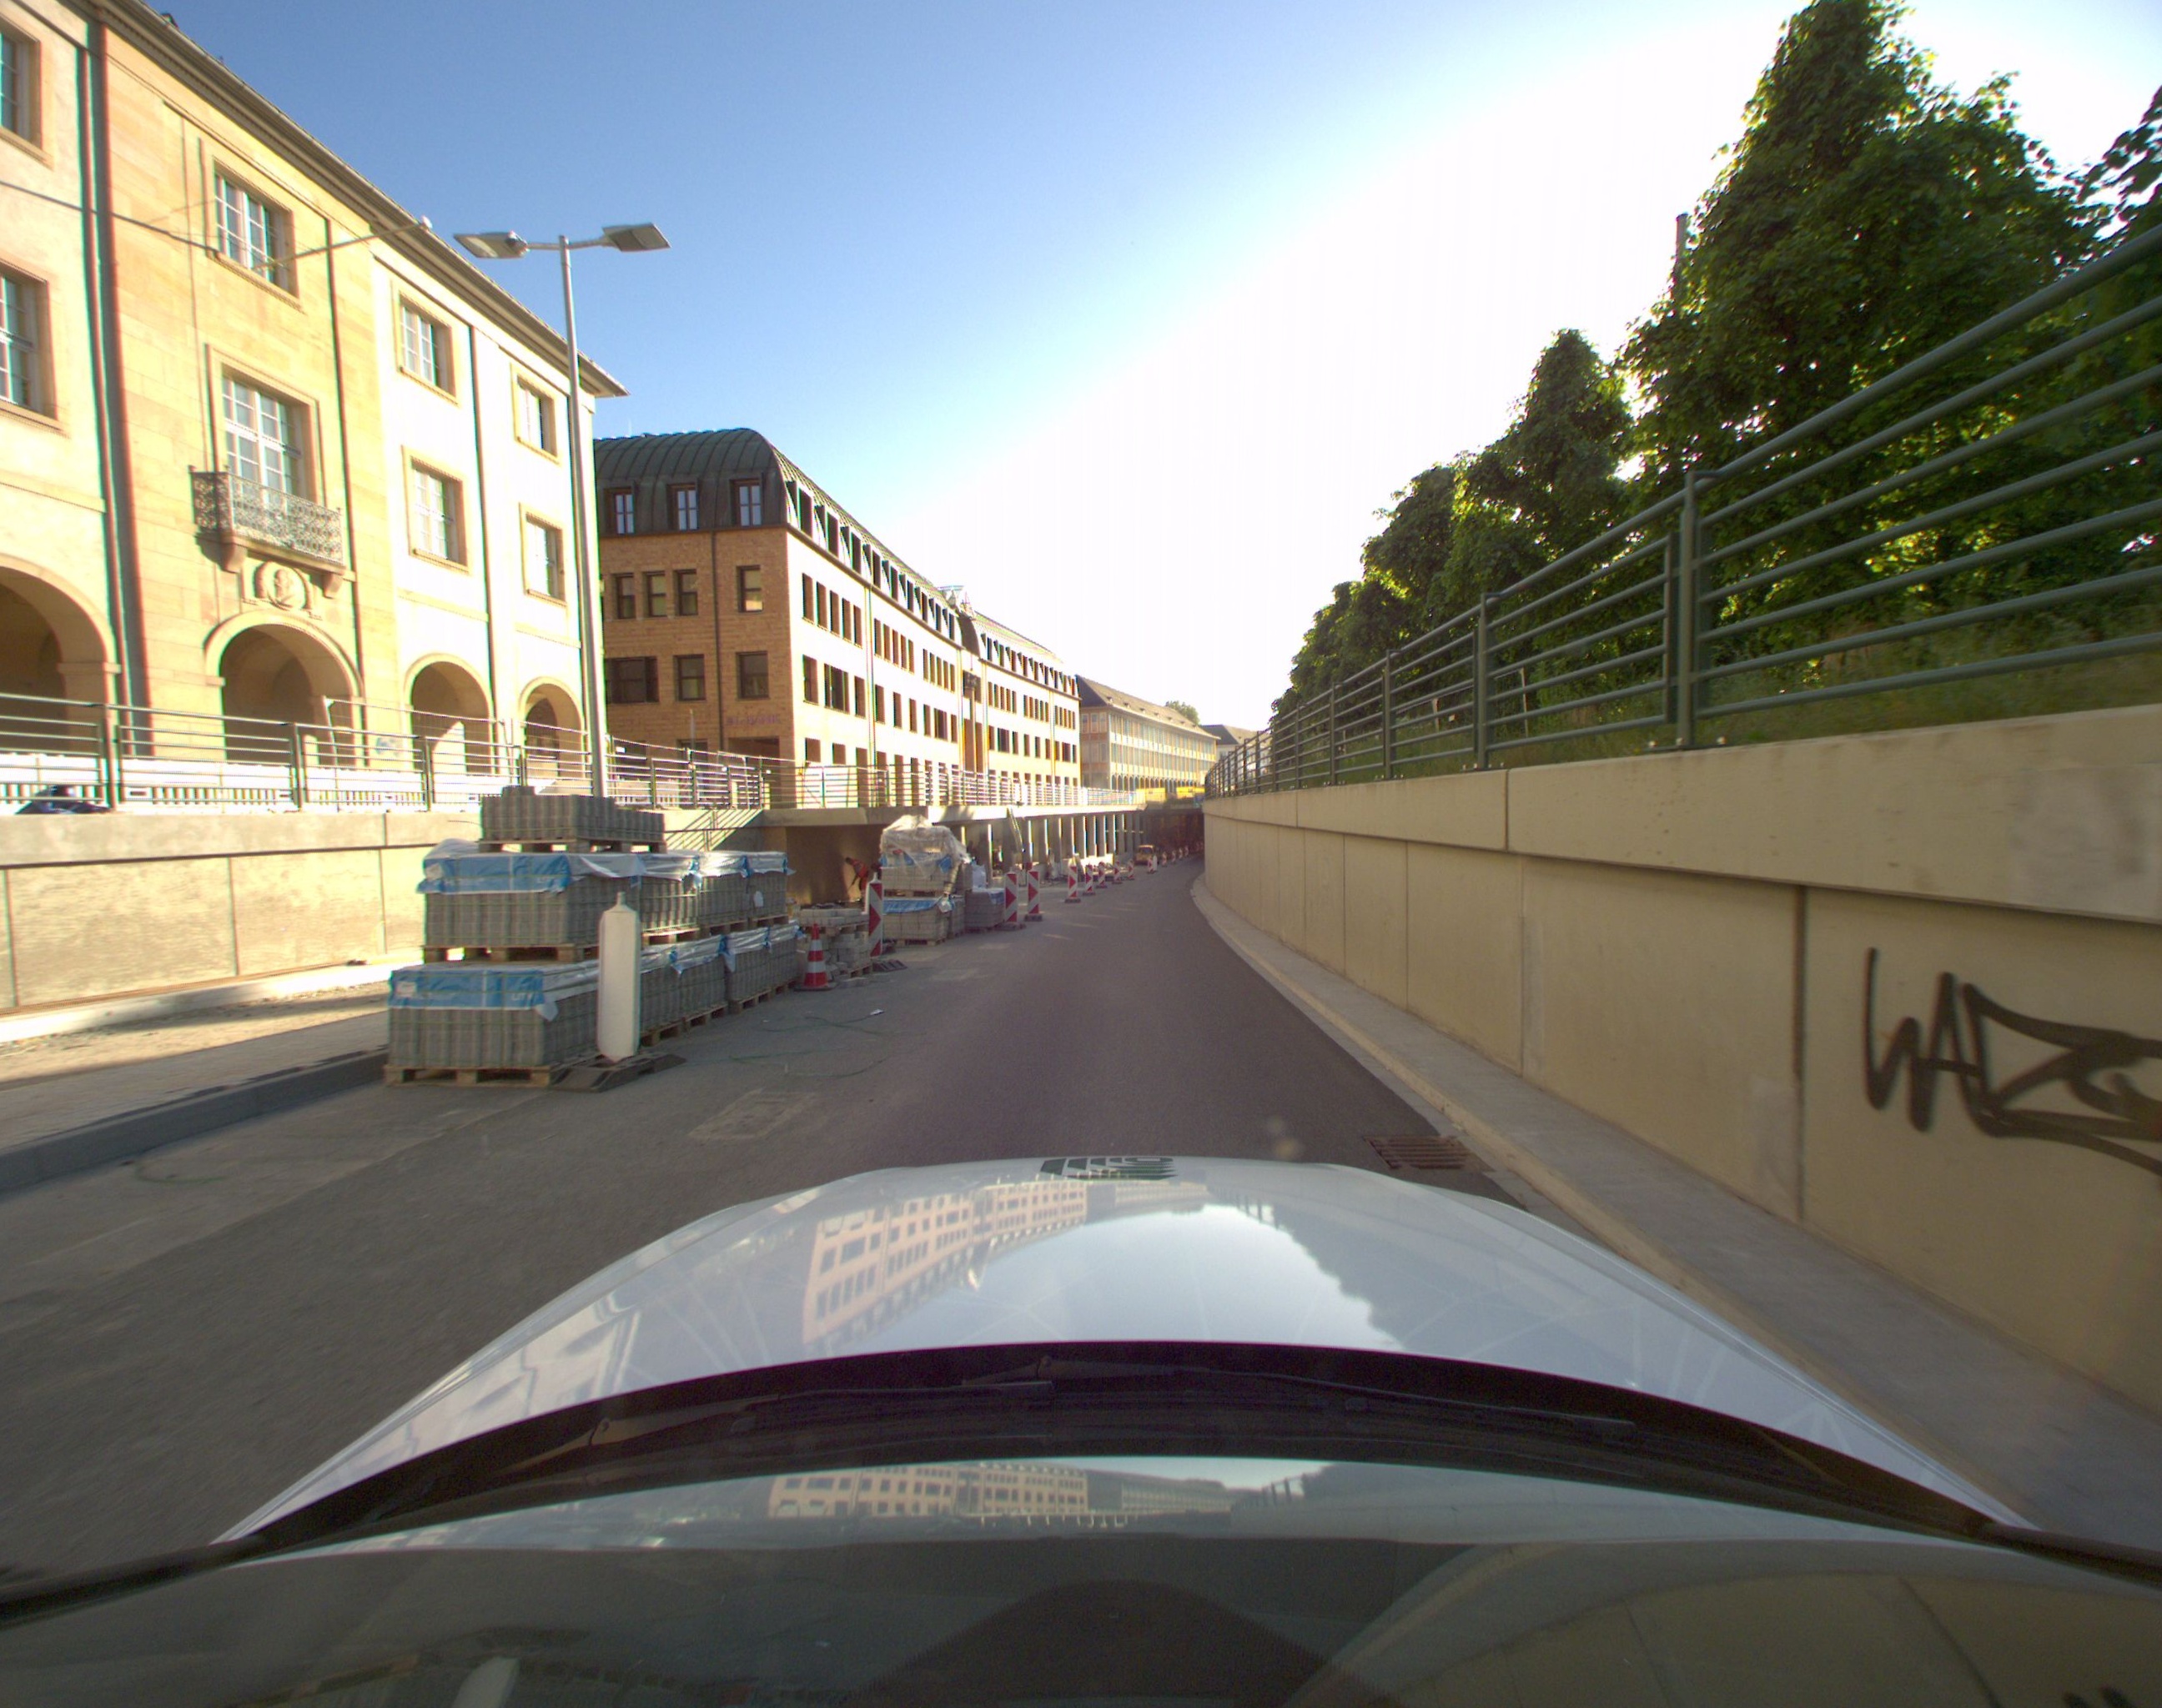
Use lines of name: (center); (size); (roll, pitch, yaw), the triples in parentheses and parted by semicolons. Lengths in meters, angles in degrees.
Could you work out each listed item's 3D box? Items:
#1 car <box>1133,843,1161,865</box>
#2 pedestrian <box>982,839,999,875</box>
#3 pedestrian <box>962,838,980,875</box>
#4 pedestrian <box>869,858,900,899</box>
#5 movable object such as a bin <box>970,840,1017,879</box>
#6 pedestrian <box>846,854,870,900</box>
car: (6.028, -0.039, 74.198); (1.835, 1.775, 4.452); (0, 3, 14)
pedestrian: (-4.576, 0.132, 41.089); (0.652, 1.805, 0.627); (0, 0, 16)
pedestrian: (-5.443, 0.105, 40.355); (0.700, 1.814, 0.711); (1, 0, 6)
pedestrian: (-6.883, 0.843, 28.506); (0.869, 1.398, 0.783); (-1, 0, -1)
movable object such as a bin: (-4.590, 0.258, 43.106); (1.876, 1.987, 3.164); (0, 1, 6)
pedestrian: (-7.836, 0.795, 28.612); (0.647, 1.579, 0.630); (-1, 0, -2)
